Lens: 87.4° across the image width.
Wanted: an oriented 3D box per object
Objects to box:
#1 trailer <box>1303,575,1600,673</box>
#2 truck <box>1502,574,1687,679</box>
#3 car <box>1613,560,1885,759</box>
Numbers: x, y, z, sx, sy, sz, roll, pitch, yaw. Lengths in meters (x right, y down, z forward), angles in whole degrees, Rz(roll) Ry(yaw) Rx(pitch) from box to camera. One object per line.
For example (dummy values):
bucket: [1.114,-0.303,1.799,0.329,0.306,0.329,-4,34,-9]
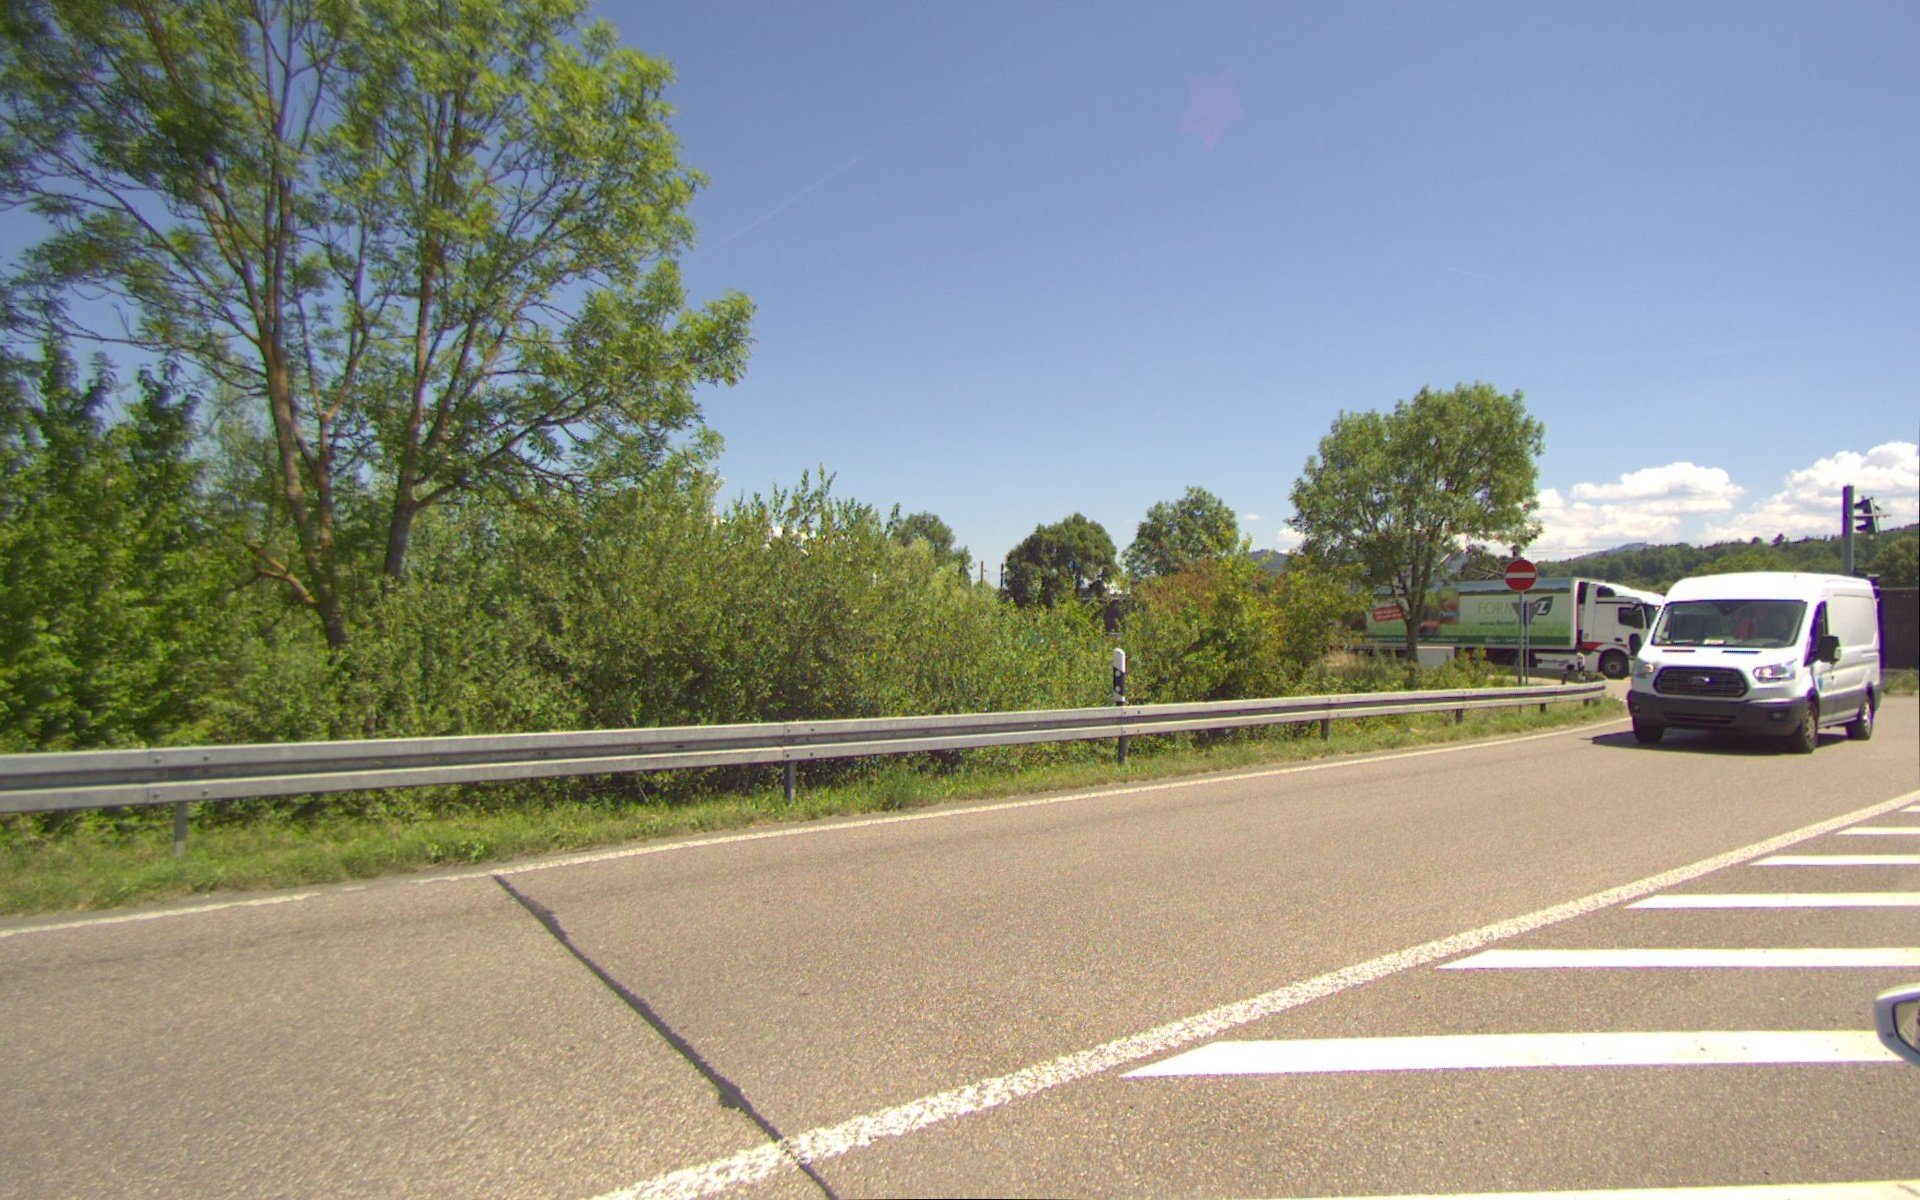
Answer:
trailer: [22.582,1.059,47.598,3.027,4.007,13.074,2,-1,-31]
truck: [26.131,1.054,41.607,3.027,4.007,5.736,2,-1,-31]
car: [11.822,0.839,14.890,5.542,2.448,1.978,2,-3,-39]
